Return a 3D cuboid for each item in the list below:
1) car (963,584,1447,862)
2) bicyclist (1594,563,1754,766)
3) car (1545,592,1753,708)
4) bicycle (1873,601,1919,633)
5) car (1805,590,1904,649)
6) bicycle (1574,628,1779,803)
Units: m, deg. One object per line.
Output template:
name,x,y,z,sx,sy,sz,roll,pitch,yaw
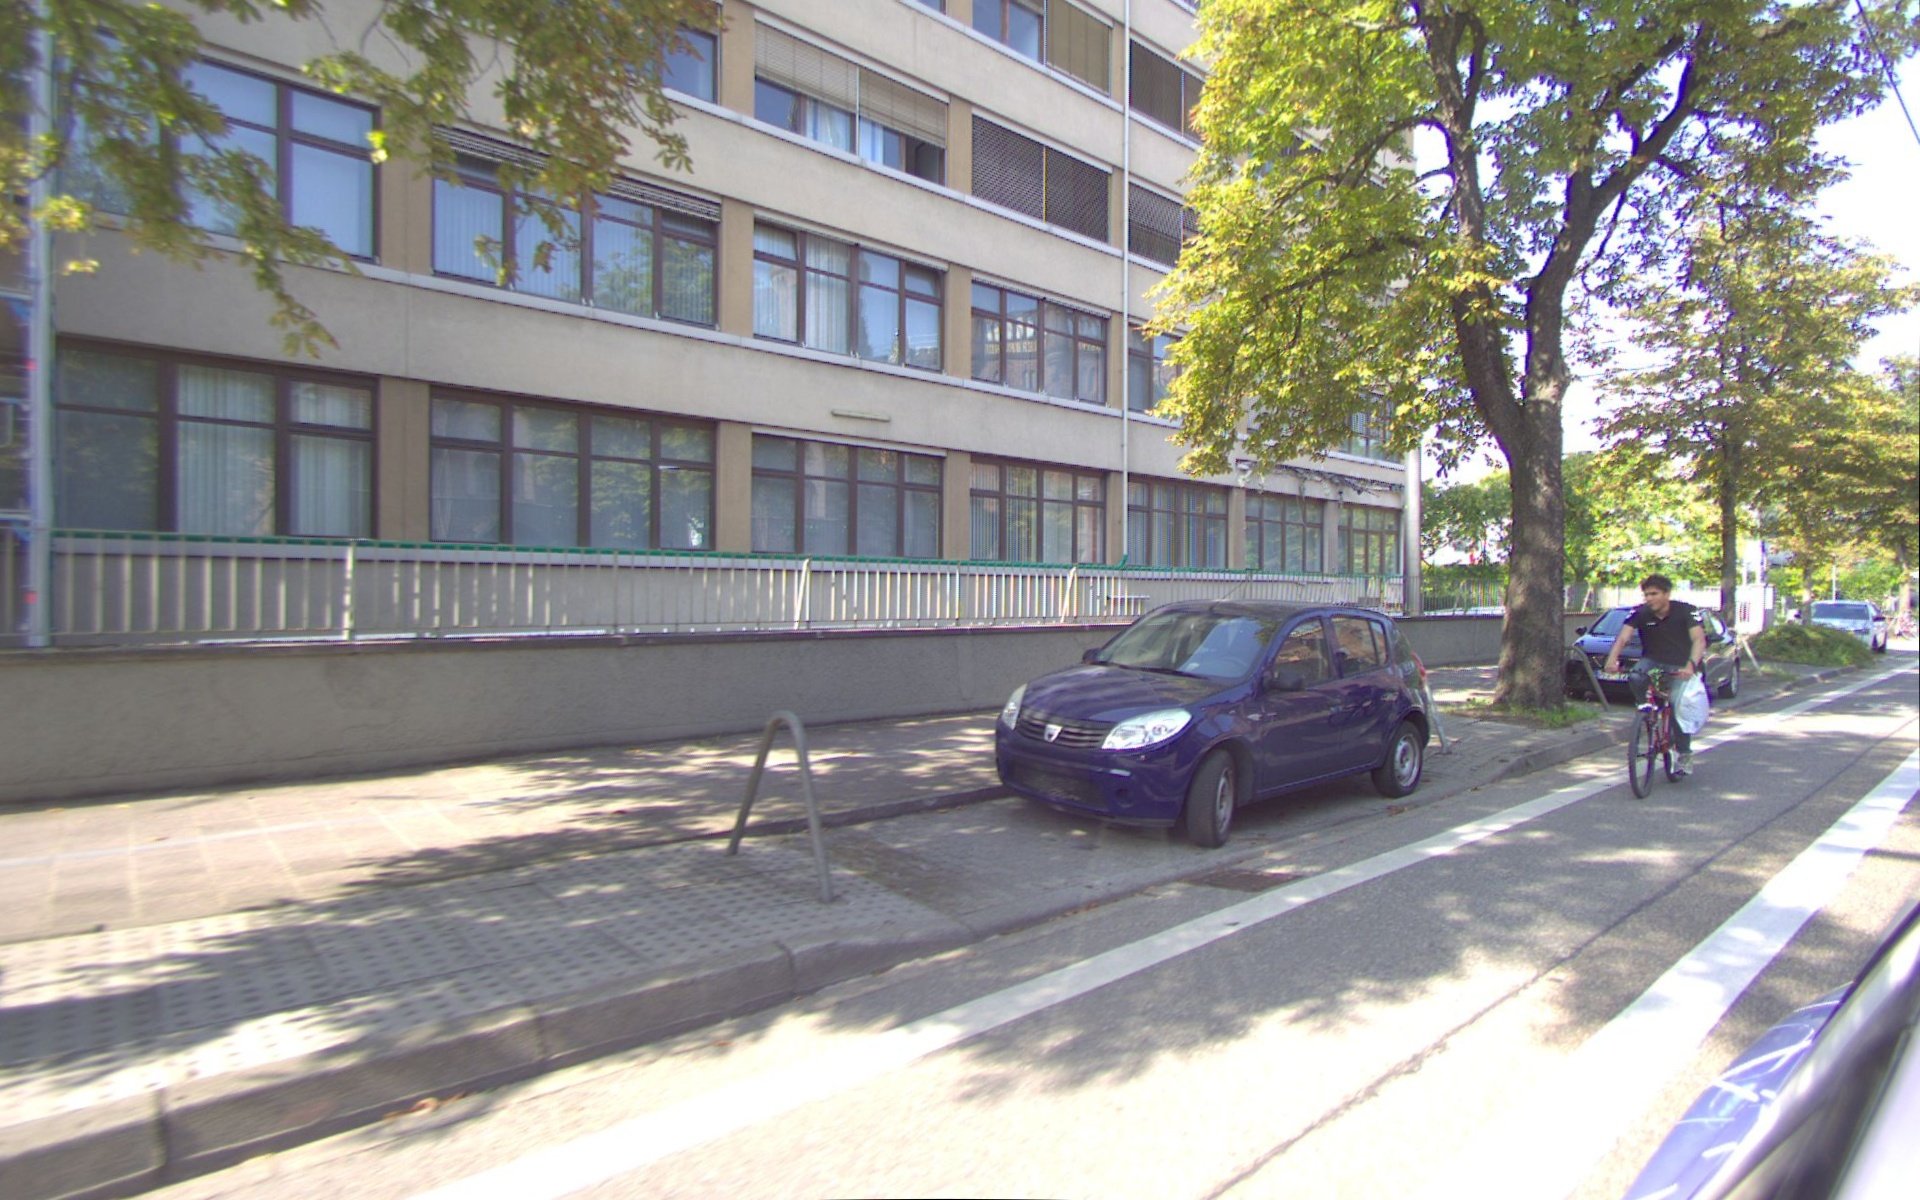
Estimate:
car,1.965,0.673,7.555,3.712,1.529,1.649,0,2,-41
bicyclist,5.713,0.467,8.096,1.096,1.488,0.788,0,0,-39
car,10.314,0.632,15.042,4.015,1.446,1.649,0,2,-42
bicycle,33.462,0.608,35.723,0.783,1.077,1.771,0,2,-42
car,24.361,0.482,27.519,3.922,1.447,1.642,-1,2,-43
bicycle,5.850,0.847,8.201,2.263,1.159,0.788,0,0,-39
